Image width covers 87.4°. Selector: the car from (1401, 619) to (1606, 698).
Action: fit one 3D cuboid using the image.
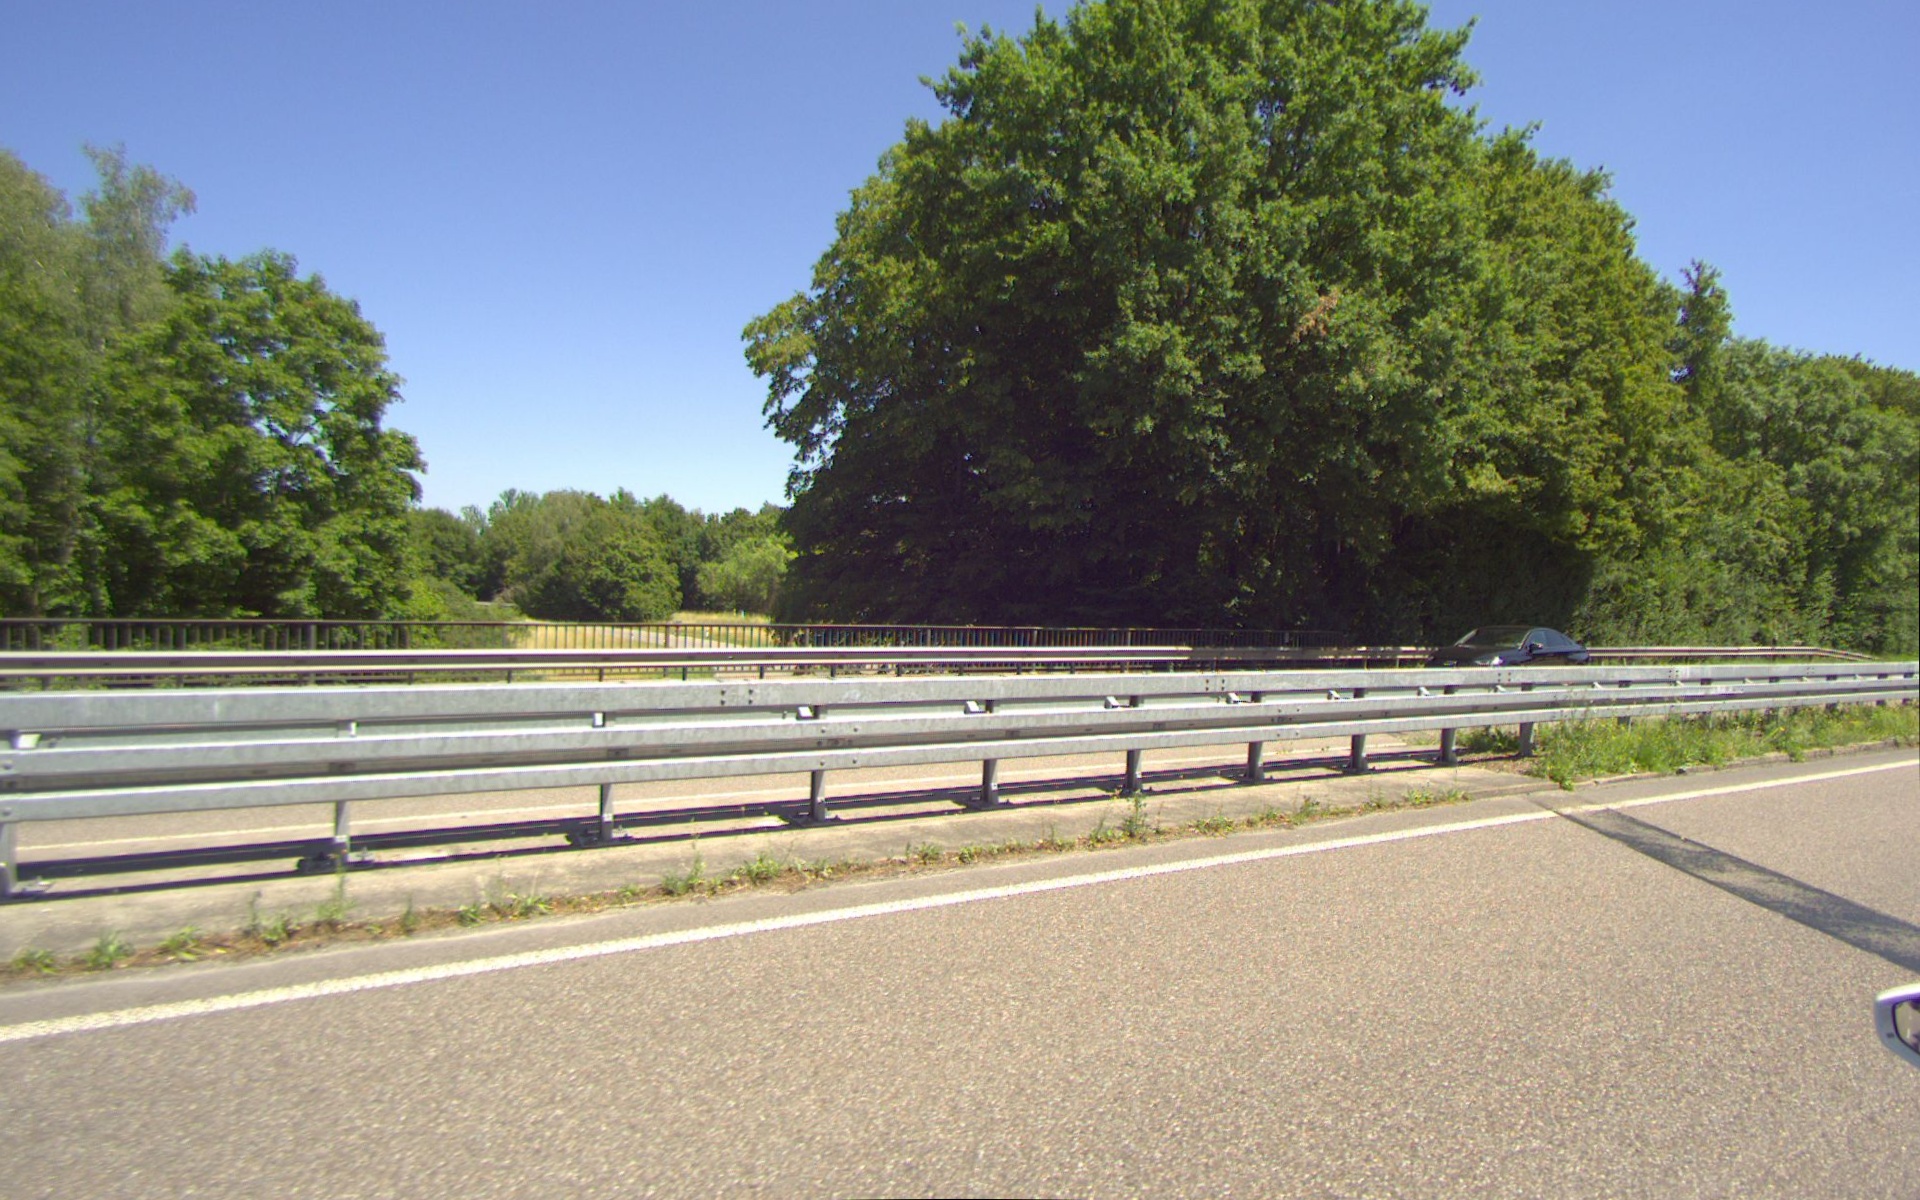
[{"bbox_3d":[11.946,1.244,21.999,4.627,1.549,1.748,1,-1,-29],"label":"car"}]
